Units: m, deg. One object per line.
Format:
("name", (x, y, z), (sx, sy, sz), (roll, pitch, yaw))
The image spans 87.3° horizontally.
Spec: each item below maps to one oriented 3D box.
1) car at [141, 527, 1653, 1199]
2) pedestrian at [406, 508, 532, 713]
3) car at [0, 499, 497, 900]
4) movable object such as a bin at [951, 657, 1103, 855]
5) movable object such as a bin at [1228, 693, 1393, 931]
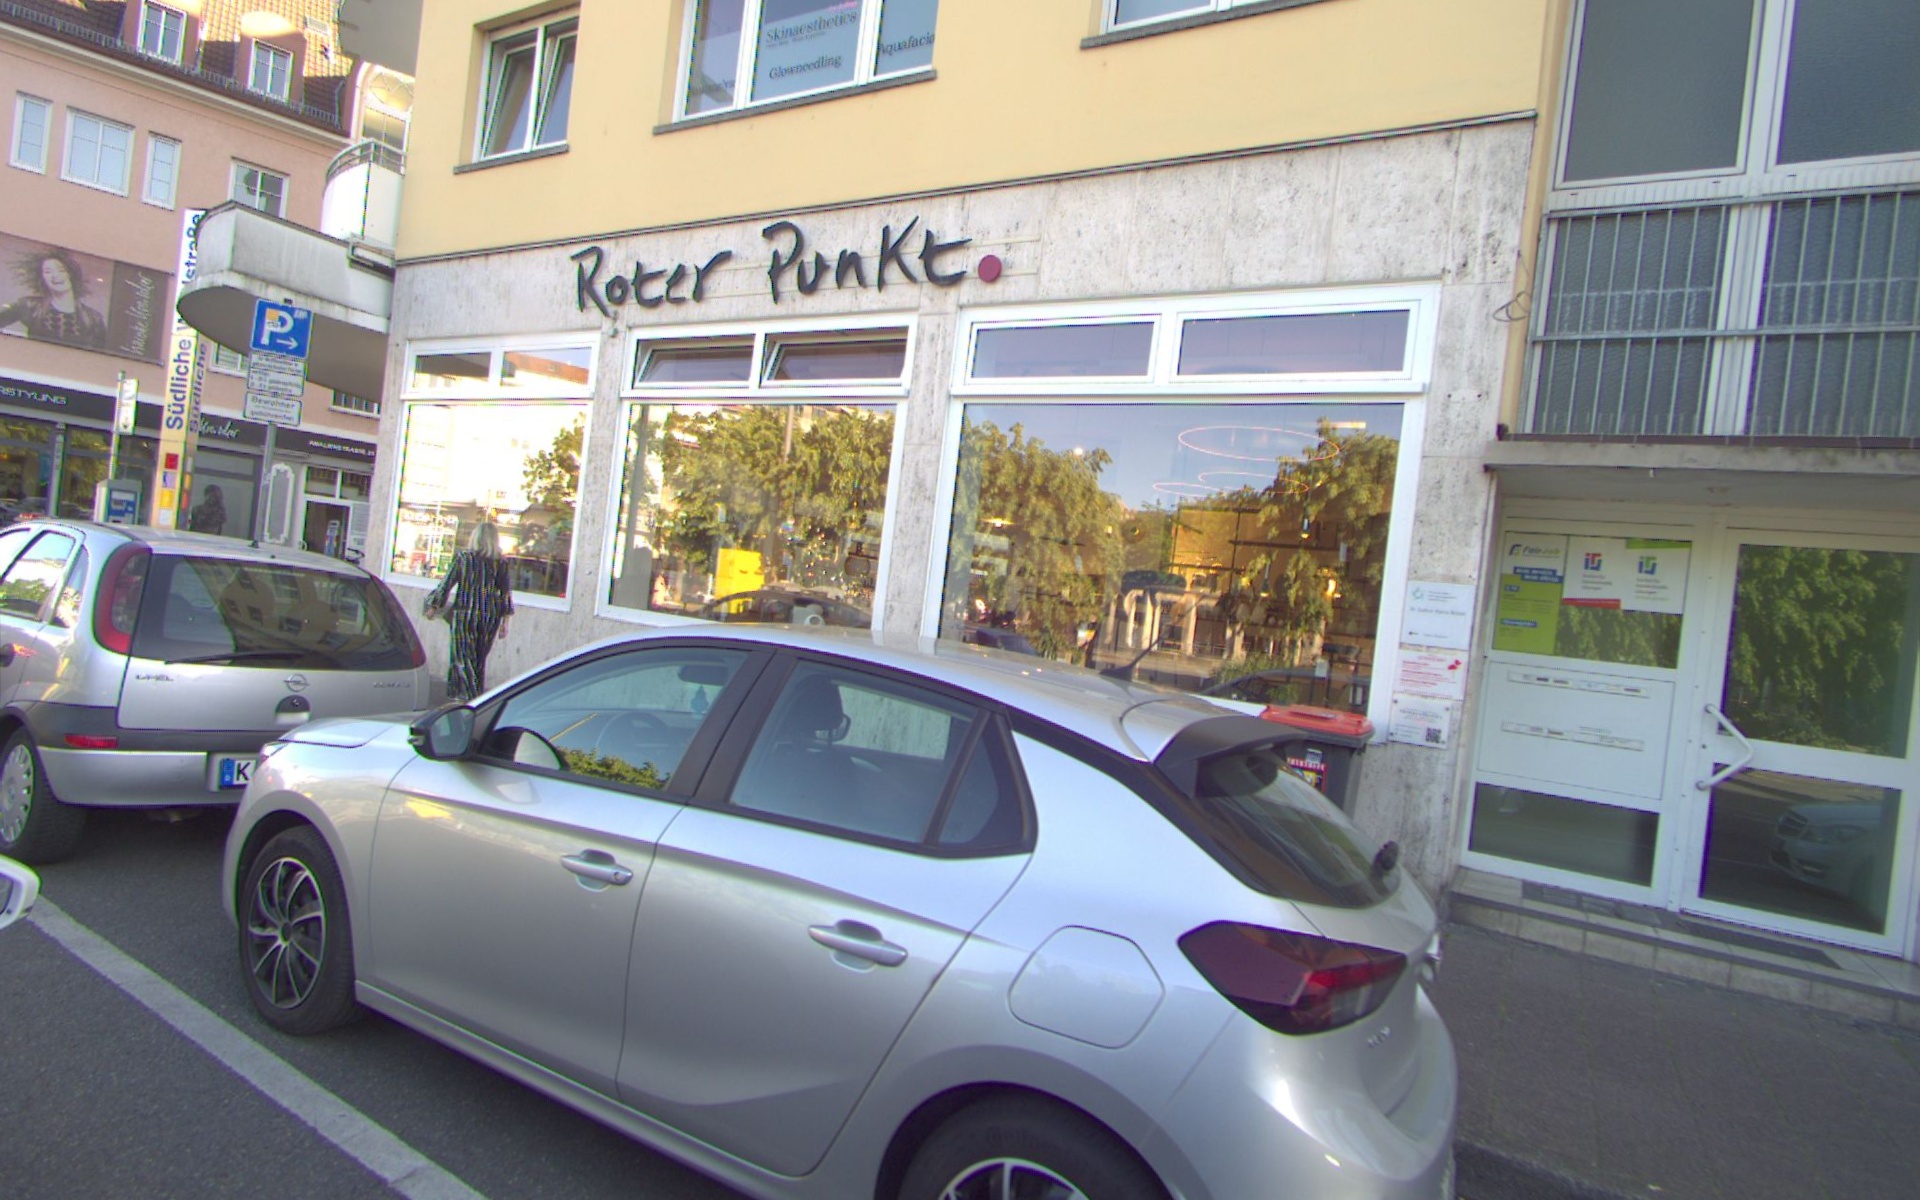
("car", (-0.481, 0.753, 3.106), (4.006, 1.444, 1.674), (7, -1, 28))
("pedestrian", (-4.207, 0.091, 8.623), (0.618, 1.654, 0.661), (6, 2, 36))
("car", (-4.409, 0.269, 5.355), (3.822, 1.411, 1.624), (7, -1, 33))
("movable object such as a bin", (0.431, 0.946, 6.364), (0.609, 1.082, 0.703), (7, 3, 31))
("movable object such as a bin", (1.921, 1.108, 5.492), (0.609, 1.082, 0.703), (7, 3, 31))
